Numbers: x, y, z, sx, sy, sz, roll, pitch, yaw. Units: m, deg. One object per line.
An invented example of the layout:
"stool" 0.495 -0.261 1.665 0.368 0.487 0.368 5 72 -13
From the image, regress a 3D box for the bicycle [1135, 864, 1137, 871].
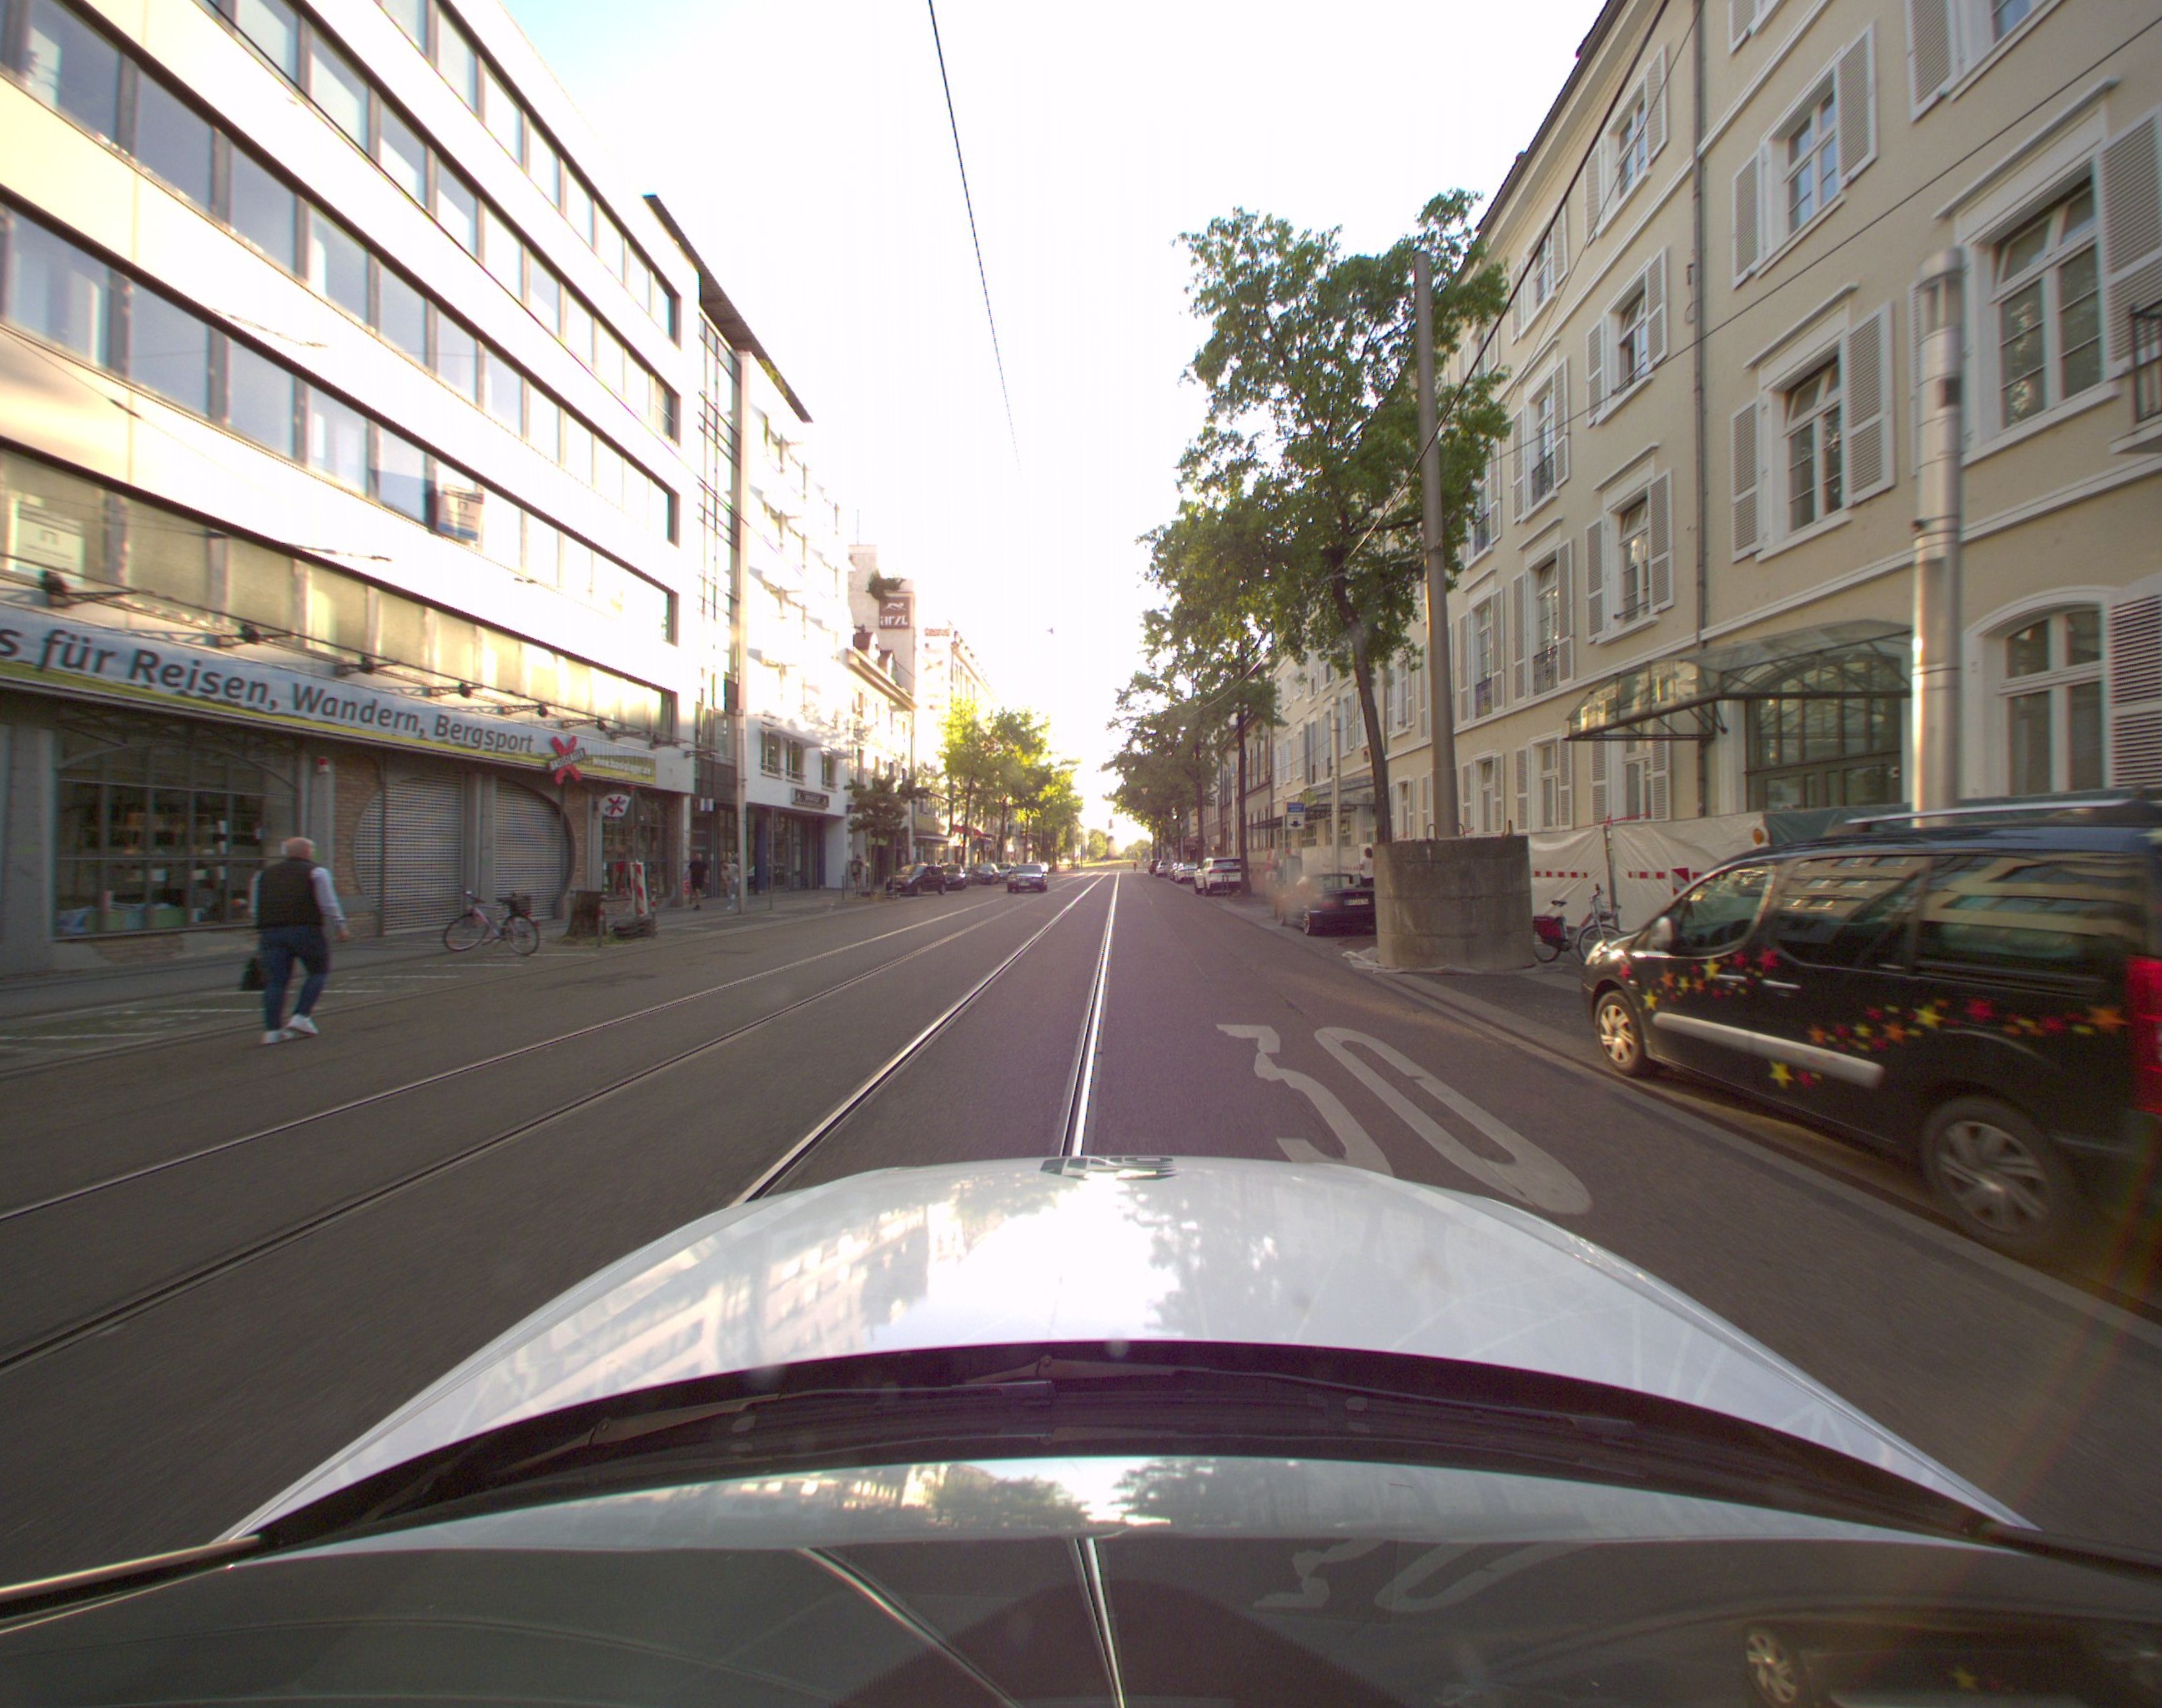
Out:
"bicycle" 7.894 1.961 116.901 0.263 0.982 1.339 0 0 3

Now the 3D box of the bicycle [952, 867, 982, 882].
"bicycle" -7.461 1.347 53.293 1.961 1.001 0.331 0 -1 4

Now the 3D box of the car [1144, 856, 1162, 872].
"car" 8.715 1.237 98.941 1.930 1.759 4.682 -4 -1 2

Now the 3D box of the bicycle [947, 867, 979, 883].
"bicycle" -7.442 1.316 51.210 1.961 1.001 0.331 0 -1 5

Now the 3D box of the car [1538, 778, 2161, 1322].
"car" 4.719 0.621 4.764 1.942 1.793 4.322 -2 -1 6

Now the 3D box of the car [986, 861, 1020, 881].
"car" -5.947 1.320 62.577 1.757 1.497 4.183 0 -1 7

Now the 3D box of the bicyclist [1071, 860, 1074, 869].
"bicyclist" -1.385 1.694 130.543 0.533 1.438 0.367 0 -1 5

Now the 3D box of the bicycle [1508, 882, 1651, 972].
"bicycle" 6.876 0.965 11.336 0.655 1.071 1.665 -2 0 -16

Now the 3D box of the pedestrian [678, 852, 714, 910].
"pedestrian" -11.715 0.811 24.810 0.624 1.713 0.809 1 -1 6

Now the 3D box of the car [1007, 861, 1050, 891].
"car" -2.563 1.062 40.697 1.773 1.407 4.527 0 0 0

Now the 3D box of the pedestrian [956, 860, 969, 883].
"pedestrian" -8.658 1.293 59.634 0.840 1.693 0.740 -1 -1 1

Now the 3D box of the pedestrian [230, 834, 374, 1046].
"pedestrian" -6.981 0.715 7.356 0.857 1.766 0.822 0 -1 -38

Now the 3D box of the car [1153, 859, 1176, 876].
"car" 8.319 1.306 81.122 1.985 1.498 4.684 -4 0 3

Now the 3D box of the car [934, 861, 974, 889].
"car" -7.192 1.184 46.363 1.788 1.490 4.237 1 -1 -3

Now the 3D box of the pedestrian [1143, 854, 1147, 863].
"pedestrian" 12.492 0.891 159.186 0.634 1.606 0.771 -1 0 0

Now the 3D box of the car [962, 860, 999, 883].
"car" -6.791 1.144 55.457 1.704 1.461 4.489 1 0 3

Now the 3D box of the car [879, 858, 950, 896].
"car" -7.726 1.036 38.095 1.617 1.616 3.725 1 0 17

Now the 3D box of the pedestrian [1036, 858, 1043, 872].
"pedestrian" -4.578 1.220 90.286 0.617 1.509 0.730 -1 -2 3

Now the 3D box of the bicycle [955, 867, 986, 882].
"bicycle" -7.180 1.343 52.896 1.961 1.001 0.331 0 -1 5

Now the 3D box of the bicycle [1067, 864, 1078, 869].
"bicycle" -1.330 2.041 130.859 1.723 0.864 0.367 0 -1 5

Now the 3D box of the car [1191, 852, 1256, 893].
"car" 6.374 0.823 37.024 1.991 1.688 4.966 -2 -1 0

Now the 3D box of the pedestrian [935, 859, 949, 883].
"pedestrian" -10.133 1.249 59.270 0.786 1.693 0.914 -1 -1 2

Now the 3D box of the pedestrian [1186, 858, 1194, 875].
"pedestrian" 10.944 1.298 81.852 0.640 1.670 0.787 -4 -1 2

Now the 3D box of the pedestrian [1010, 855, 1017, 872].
"pedestrian" -8.052 1.128 97.222 0.719 2.014 0.643 0 -1 2

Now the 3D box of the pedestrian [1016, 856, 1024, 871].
"pedestrian" -7.276 1.120 97.188 0.719 1.760 1.090 0 -1 3

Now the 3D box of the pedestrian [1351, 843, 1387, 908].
"pedestrian" 8.729 0.645 24.725 0.710 1.887 1.053 -2 -1 3

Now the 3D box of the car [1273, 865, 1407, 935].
"car" 5.644 0.939 18.324 1.787 1.311 4.332 -2 -1 3

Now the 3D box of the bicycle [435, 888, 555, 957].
"bicycle" -9.655 1.115 13.418 1.734 0.992 0.479 3 0 9

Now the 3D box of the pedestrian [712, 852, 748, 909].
"pedestrian" -10.794 0.791 25.045 0.638 1.713 0.831 1 -1 6

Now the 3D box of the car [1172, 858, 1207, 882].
"car" 7.332 1.063 55.224 1.904 1.420 4.891 -3 -1 3

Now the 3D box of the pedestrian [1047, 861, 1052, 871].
"pedestrian" -4.510 1.707 116.332 0.725 1.290 0.856 0 0 0

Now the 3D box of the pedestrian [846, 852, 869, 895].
"pedestrian" -9.929 0.855 36.210 0.657 1.825 0.879 2 -1 3

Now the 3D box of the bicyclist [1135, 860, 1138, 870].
"bicyclist" 7.939 1.567 116.889 0.426 1.481 0.466 0 -1 3
